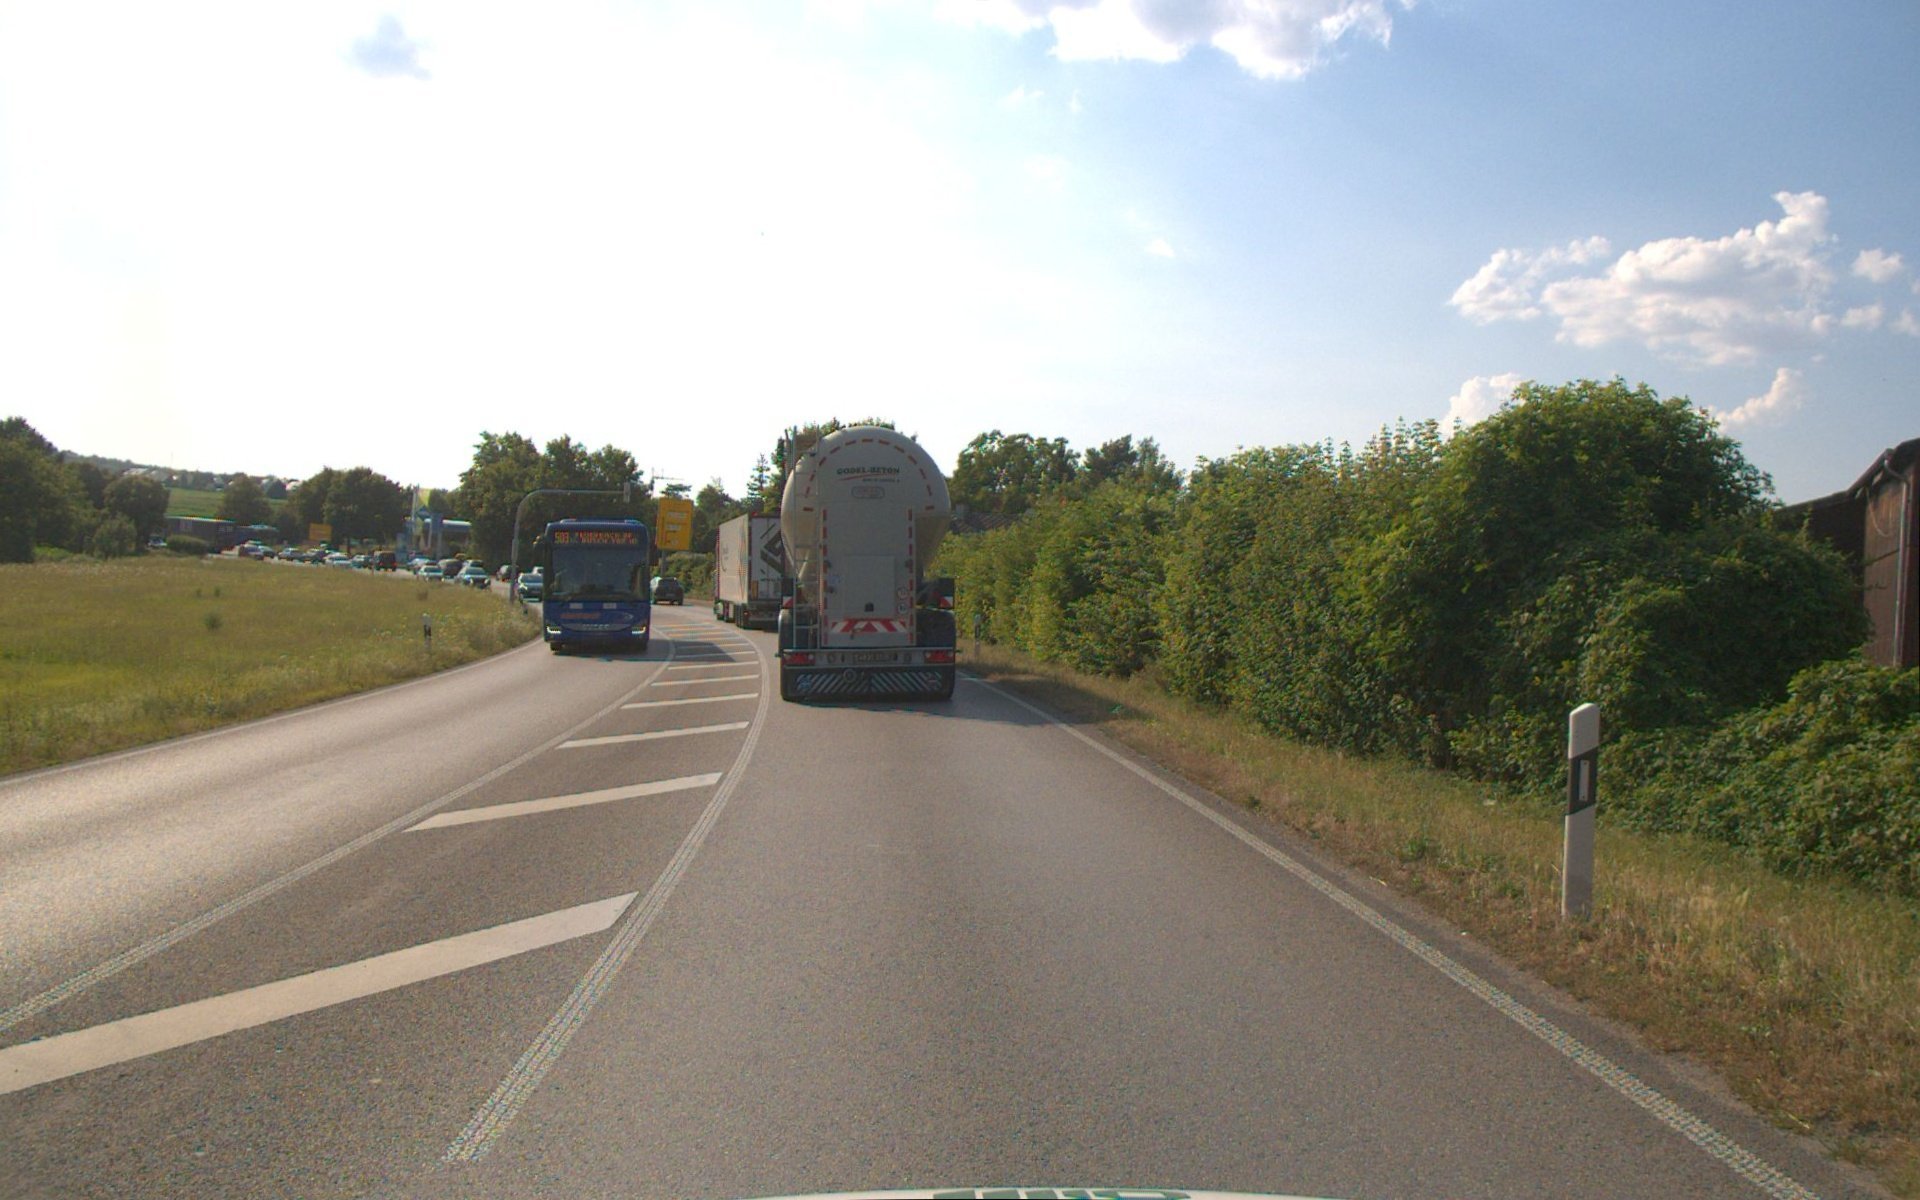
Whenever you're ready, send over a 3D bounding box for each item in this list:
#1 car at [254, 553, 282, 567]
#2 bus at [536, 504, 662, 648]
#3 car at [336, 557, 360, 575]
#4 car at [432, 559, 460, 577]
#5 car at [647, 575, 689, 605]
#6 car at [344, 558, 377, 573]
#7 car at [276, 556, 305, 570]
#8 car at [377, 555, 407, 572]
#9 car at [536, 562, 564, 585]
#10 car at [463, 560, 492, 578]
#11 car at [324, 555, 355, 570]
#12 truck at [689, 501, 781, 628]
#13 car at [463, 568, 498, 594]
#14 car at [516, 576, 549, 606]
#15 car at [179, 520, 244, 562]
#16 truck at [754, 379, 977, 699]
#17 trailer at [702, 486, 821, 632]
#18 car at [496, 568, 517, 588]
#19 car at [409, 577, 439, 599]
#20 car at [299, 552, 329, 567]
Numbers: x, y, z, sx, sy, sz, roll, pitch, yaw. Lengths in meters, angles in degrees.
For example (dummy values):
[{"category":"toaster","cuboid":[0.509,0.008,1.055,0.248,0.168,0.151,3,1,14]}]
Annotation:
[{"category":"car","cuboid":[-84.946,-4.858,203.004,1.873,1.627,3.936,1,1,-44]},{"category":"bus","cuboid":[-9.312,-0.485,43.763,2.743,3.237,12.096,1,-1,-10]},{"category":"car","cuboid":[-61.525,-3.409,166.165,1.819,1.685,3.965,2,-1,-27]},{"category":"car","cuboid":[-48.730,-3.074,156.823,1.859,1.627,3.965,1,0,-27]},{"category":"car","cuboid":[-17.094,-0.549,96.739,1.962,1.685,3.981,1,-1,-17]},{"category":"car","cuboid":[-66.306,-3.824,182.946,2.076,1.627,3.936,1,1,-44]},{"category":"car","cuboid":[-80.341,-4.441,198.350,1.873,1.627,3.936,1,1,-44]},{"category":"car","cuboid":[-59.208,-3.794,172.476,2.066,1.627,3.955,1,0,-33]},{"category":"car","cuboid":[-33.698,-2.165,135.927,1.814,1.685,3.976,1,-1,-20]},{"category":"car","cuboid":[-47.587,-3.053,163.021,2.061,1.627,3.965,1,0,-27]},{"category":"car","cuboid":[-70.339,-4.255,187.584,1.873,1.627,3.936,1,1,-44]},{"category":"truck","cuboid":[-9.450,-1.390,68.841,2.914,4.972,6.404,1,-1,-15]},{"category":"car","cuboid":[-34.219,-1.393,118.087,1.958,1.755,4.414,1,1,-12]},{"category":"car","cuboid":[-25.099,-0.503,97.192,1.810,1.685,3.984,1,-1,-15]},{"category":"car","cuboid":[-97.314,-7.649,214.931,3.525,5.147,13.031,1,1,-43]},{"category":"truck","cuboid":[-1.723,-0.755,28.106,2.917,4.248,11.650,1,-1,-5]},{"category":"trailer","cuboid":[-7.582,-1.359,61.826,2.915,4.967,10.246,1,-1,-15]},{"category":"car","cuboid":[-41.393,-2.009,150.840,1.497,1.685,3.849,1,-1,-20]},{"category":"car","cuboid":[-43.867,-0.959,135.320,1.818,1.685,3.967,1,-1,-26]},{"category":"car","cuboid":[-74.930,-4.682,191.939,1.873,1.627,3.936,1,1,-44]}]
